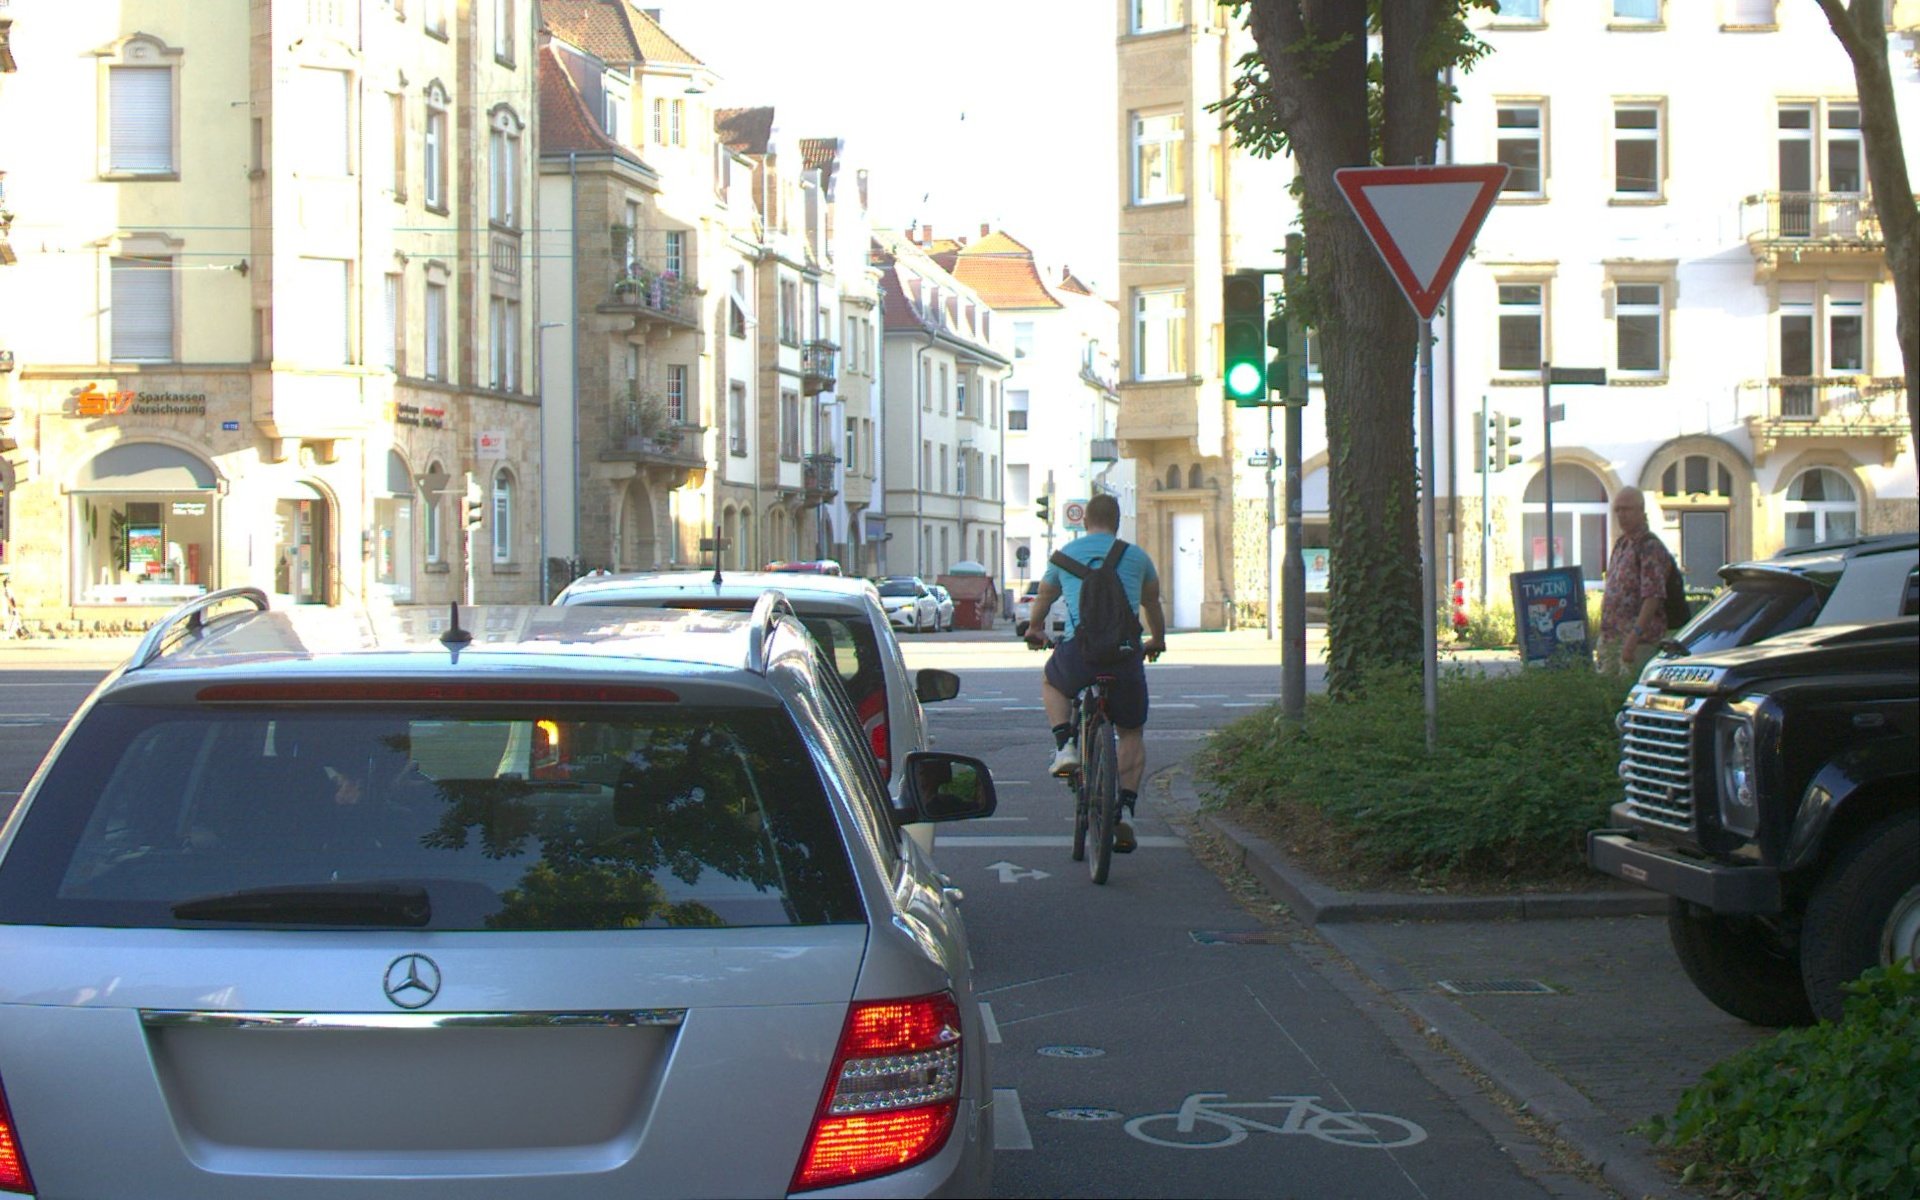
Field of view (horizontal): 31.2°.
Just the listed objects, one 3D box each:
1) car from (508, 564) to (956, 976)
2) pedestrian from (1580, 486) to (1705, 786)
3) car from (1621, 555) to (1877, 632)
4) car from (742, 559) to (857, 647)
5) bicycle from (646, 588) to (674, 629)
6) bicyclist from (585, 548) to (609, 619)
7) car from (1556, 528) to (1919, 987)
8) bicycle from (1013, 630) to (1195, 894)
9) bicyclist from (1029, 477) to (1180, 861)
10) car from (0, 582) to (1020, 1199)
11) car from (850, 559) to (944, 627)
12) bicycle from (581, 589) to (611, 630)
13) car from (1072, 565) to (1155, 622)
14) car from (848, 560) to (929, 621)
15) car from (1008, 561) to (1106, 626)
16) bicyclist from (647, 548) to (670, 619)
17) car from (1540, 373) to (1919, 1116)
[{"bbox_3d":[-0.852,0.569,13.638,1.533,1.386,3.600,0,1,-2],"label":"car"},{"bbox_3d":[4.245,0.216,21.400,0.631,1.838,0.575,0,1,-4],"label":"pedestrian"},{"bbox_3d":[11.334,-0.103,49.492,3.364,1.065,1.380,0,1,-1],"label":"car"},{"bbox_3d":[-3.689,0.043,79.700,1.938,1.952,4.149,0,1,8],"label":"car"},{"bbox_3d":[-6.383,0.176,73.125,0.568,0.832,1.566,0,1,-4],"label":"bicycle"},{"bbox_3d":[-7.689,-0.353,72.776,0.466,1.509,0.655,0,1,-4],"label":"bicyclist"},{"bbox_3d":[4.220,0.506,13.053,3.480,1.580,1.711,-2,1,-6],"label":"car"},{"bbox_3d":[0.659,0.730,16.345,0.742,1.114,2.013,1,1,-1],"label":"bicycle"},{"bbox_3d":[0.676,0.314,16.311,0.646,1.769,0.831,1,0,-1],"label":"bicyclist"},{"bbox_3d":[-0.869,0.710,6.438,1.690,1.424,3.493,1,1,-3],"label":"car"},{"bbox_3d":[-1.625,-0.203,90.196,1.687,1.716,3.998,0,1,10],"label":"car"},{"bbox_3d":[-7.686,0.188,72.678,0.568,0.832,1.566,0,1,-4],"label":"bicycle"},{"bbox_3d":[4.582,-0.194,102.016,1.722,1.473,3.998,-4,1,12],"label":"car"},{"bbox_3d":[-2.106,-0.269,102.639,1.651,1.777,3.861,0,0,11],"label":"car"},{"bbox_3d":[2.451,-0.188,85.801,1.722,1.473,3.998,-2,1,12],"label":"car"},{"bbox_3d":[-6.417,-0.356,73.173,0.466,1.516,0.694,0,1,-4],"label":"bicyclist"},{"bbox_3d":[4.163,0.296,10.122,4.490,1.949,1.793,-2,1,-3],"label":"car"}]
